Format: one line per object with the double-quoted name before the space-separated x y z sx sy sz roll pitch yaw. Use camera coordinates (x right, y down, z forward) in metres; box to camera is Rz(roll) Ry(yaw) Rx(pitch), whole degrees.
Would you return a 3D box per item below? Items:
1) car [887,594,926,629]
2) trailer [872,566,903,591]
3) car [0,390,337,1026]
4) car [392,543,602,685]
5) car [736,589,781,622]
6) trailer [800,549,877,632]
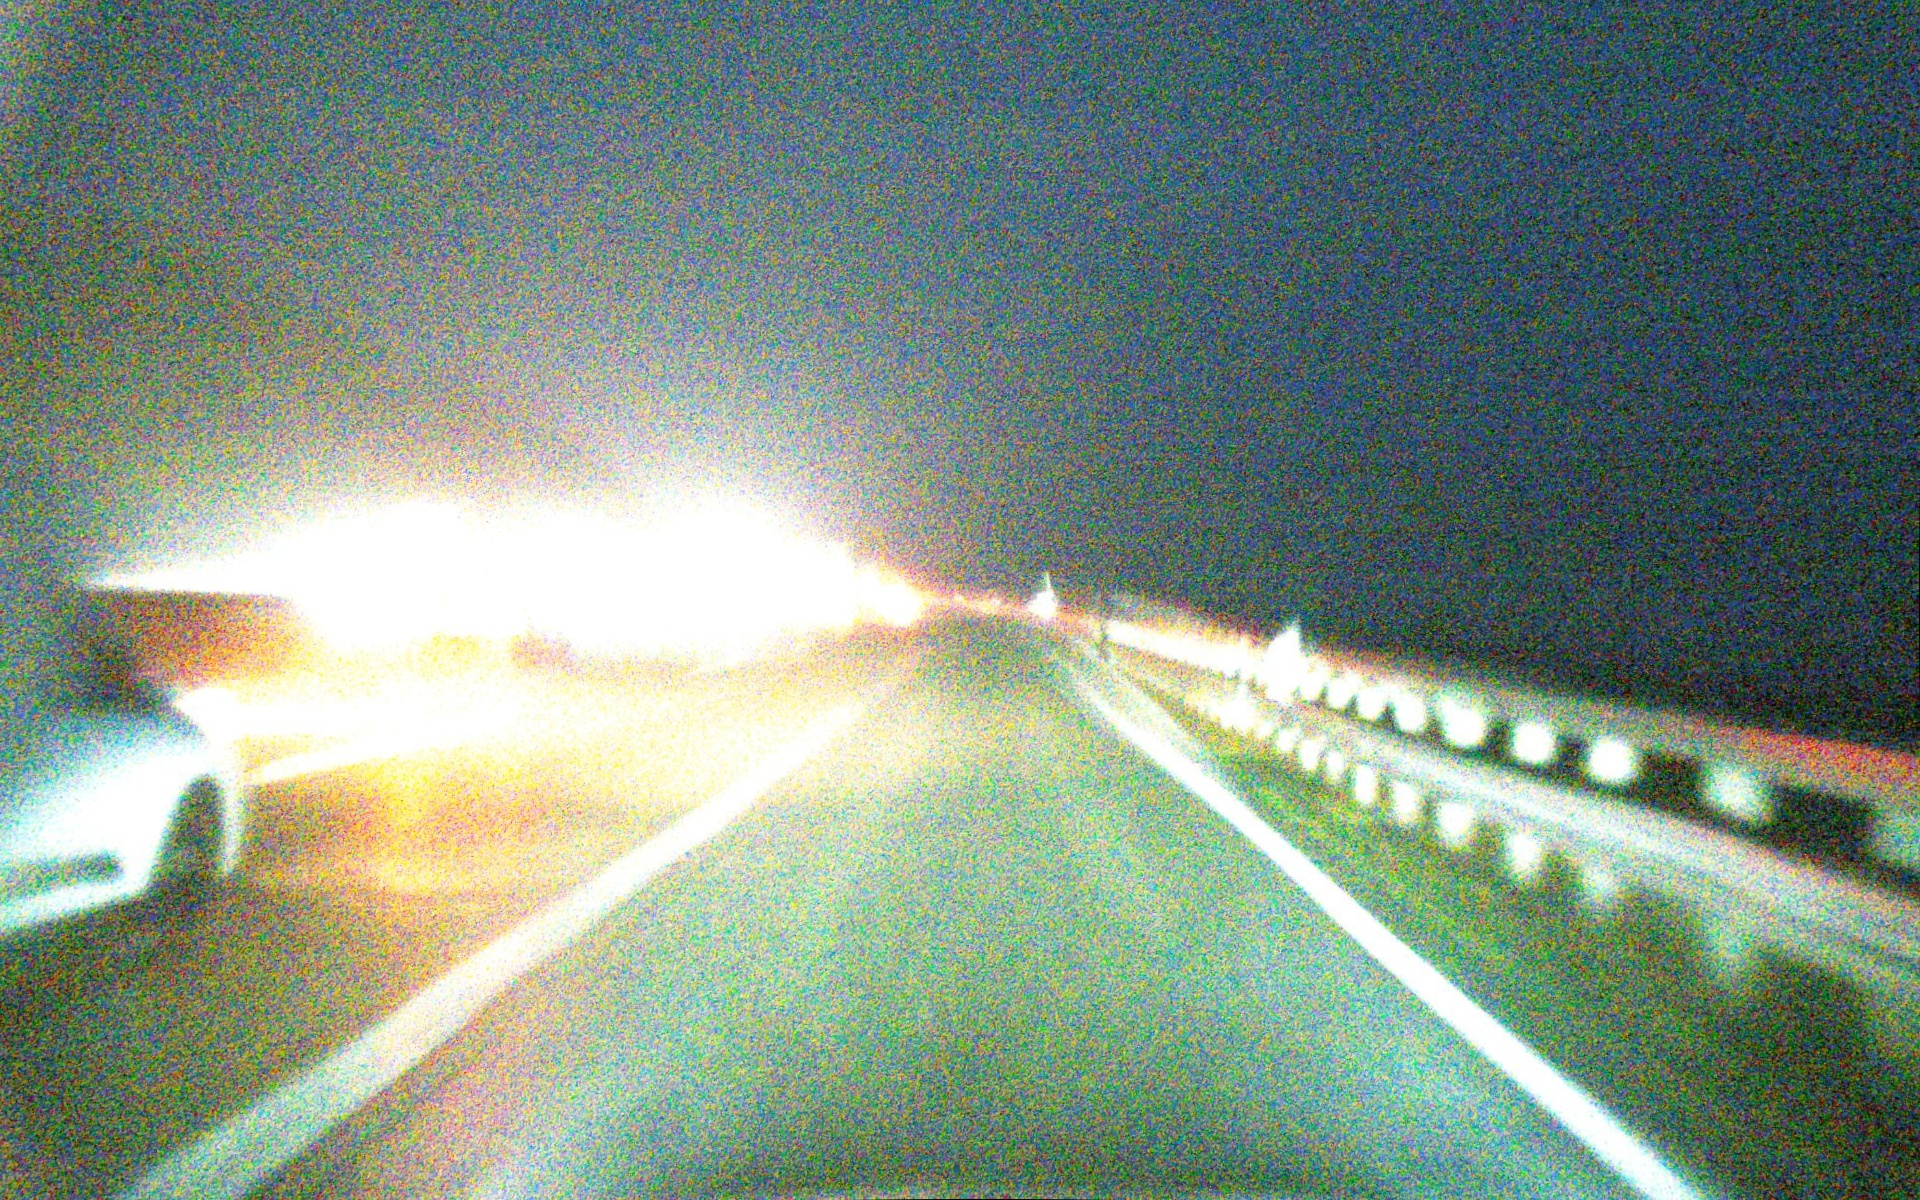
"car" -3.169 0.682 98.499 1.953 1.850 4.001 5 0 2
"trailer" -9.108 -2.650 208.457 2.632 2.746 12.861 5 0 2
"car" -4.055 0.324 5.411 1.952 2.049 5.018 2 0 1
"car" -7.671 0.230 27.917 1.953 2.048 4.569 5 0 2
"car" -11.001 0.289 90.689 1.954 1.646 3.999 5 0 -2
"trailer" -6.193 -0.405 86.520 2.539 3.789 13.653 5 0 1
